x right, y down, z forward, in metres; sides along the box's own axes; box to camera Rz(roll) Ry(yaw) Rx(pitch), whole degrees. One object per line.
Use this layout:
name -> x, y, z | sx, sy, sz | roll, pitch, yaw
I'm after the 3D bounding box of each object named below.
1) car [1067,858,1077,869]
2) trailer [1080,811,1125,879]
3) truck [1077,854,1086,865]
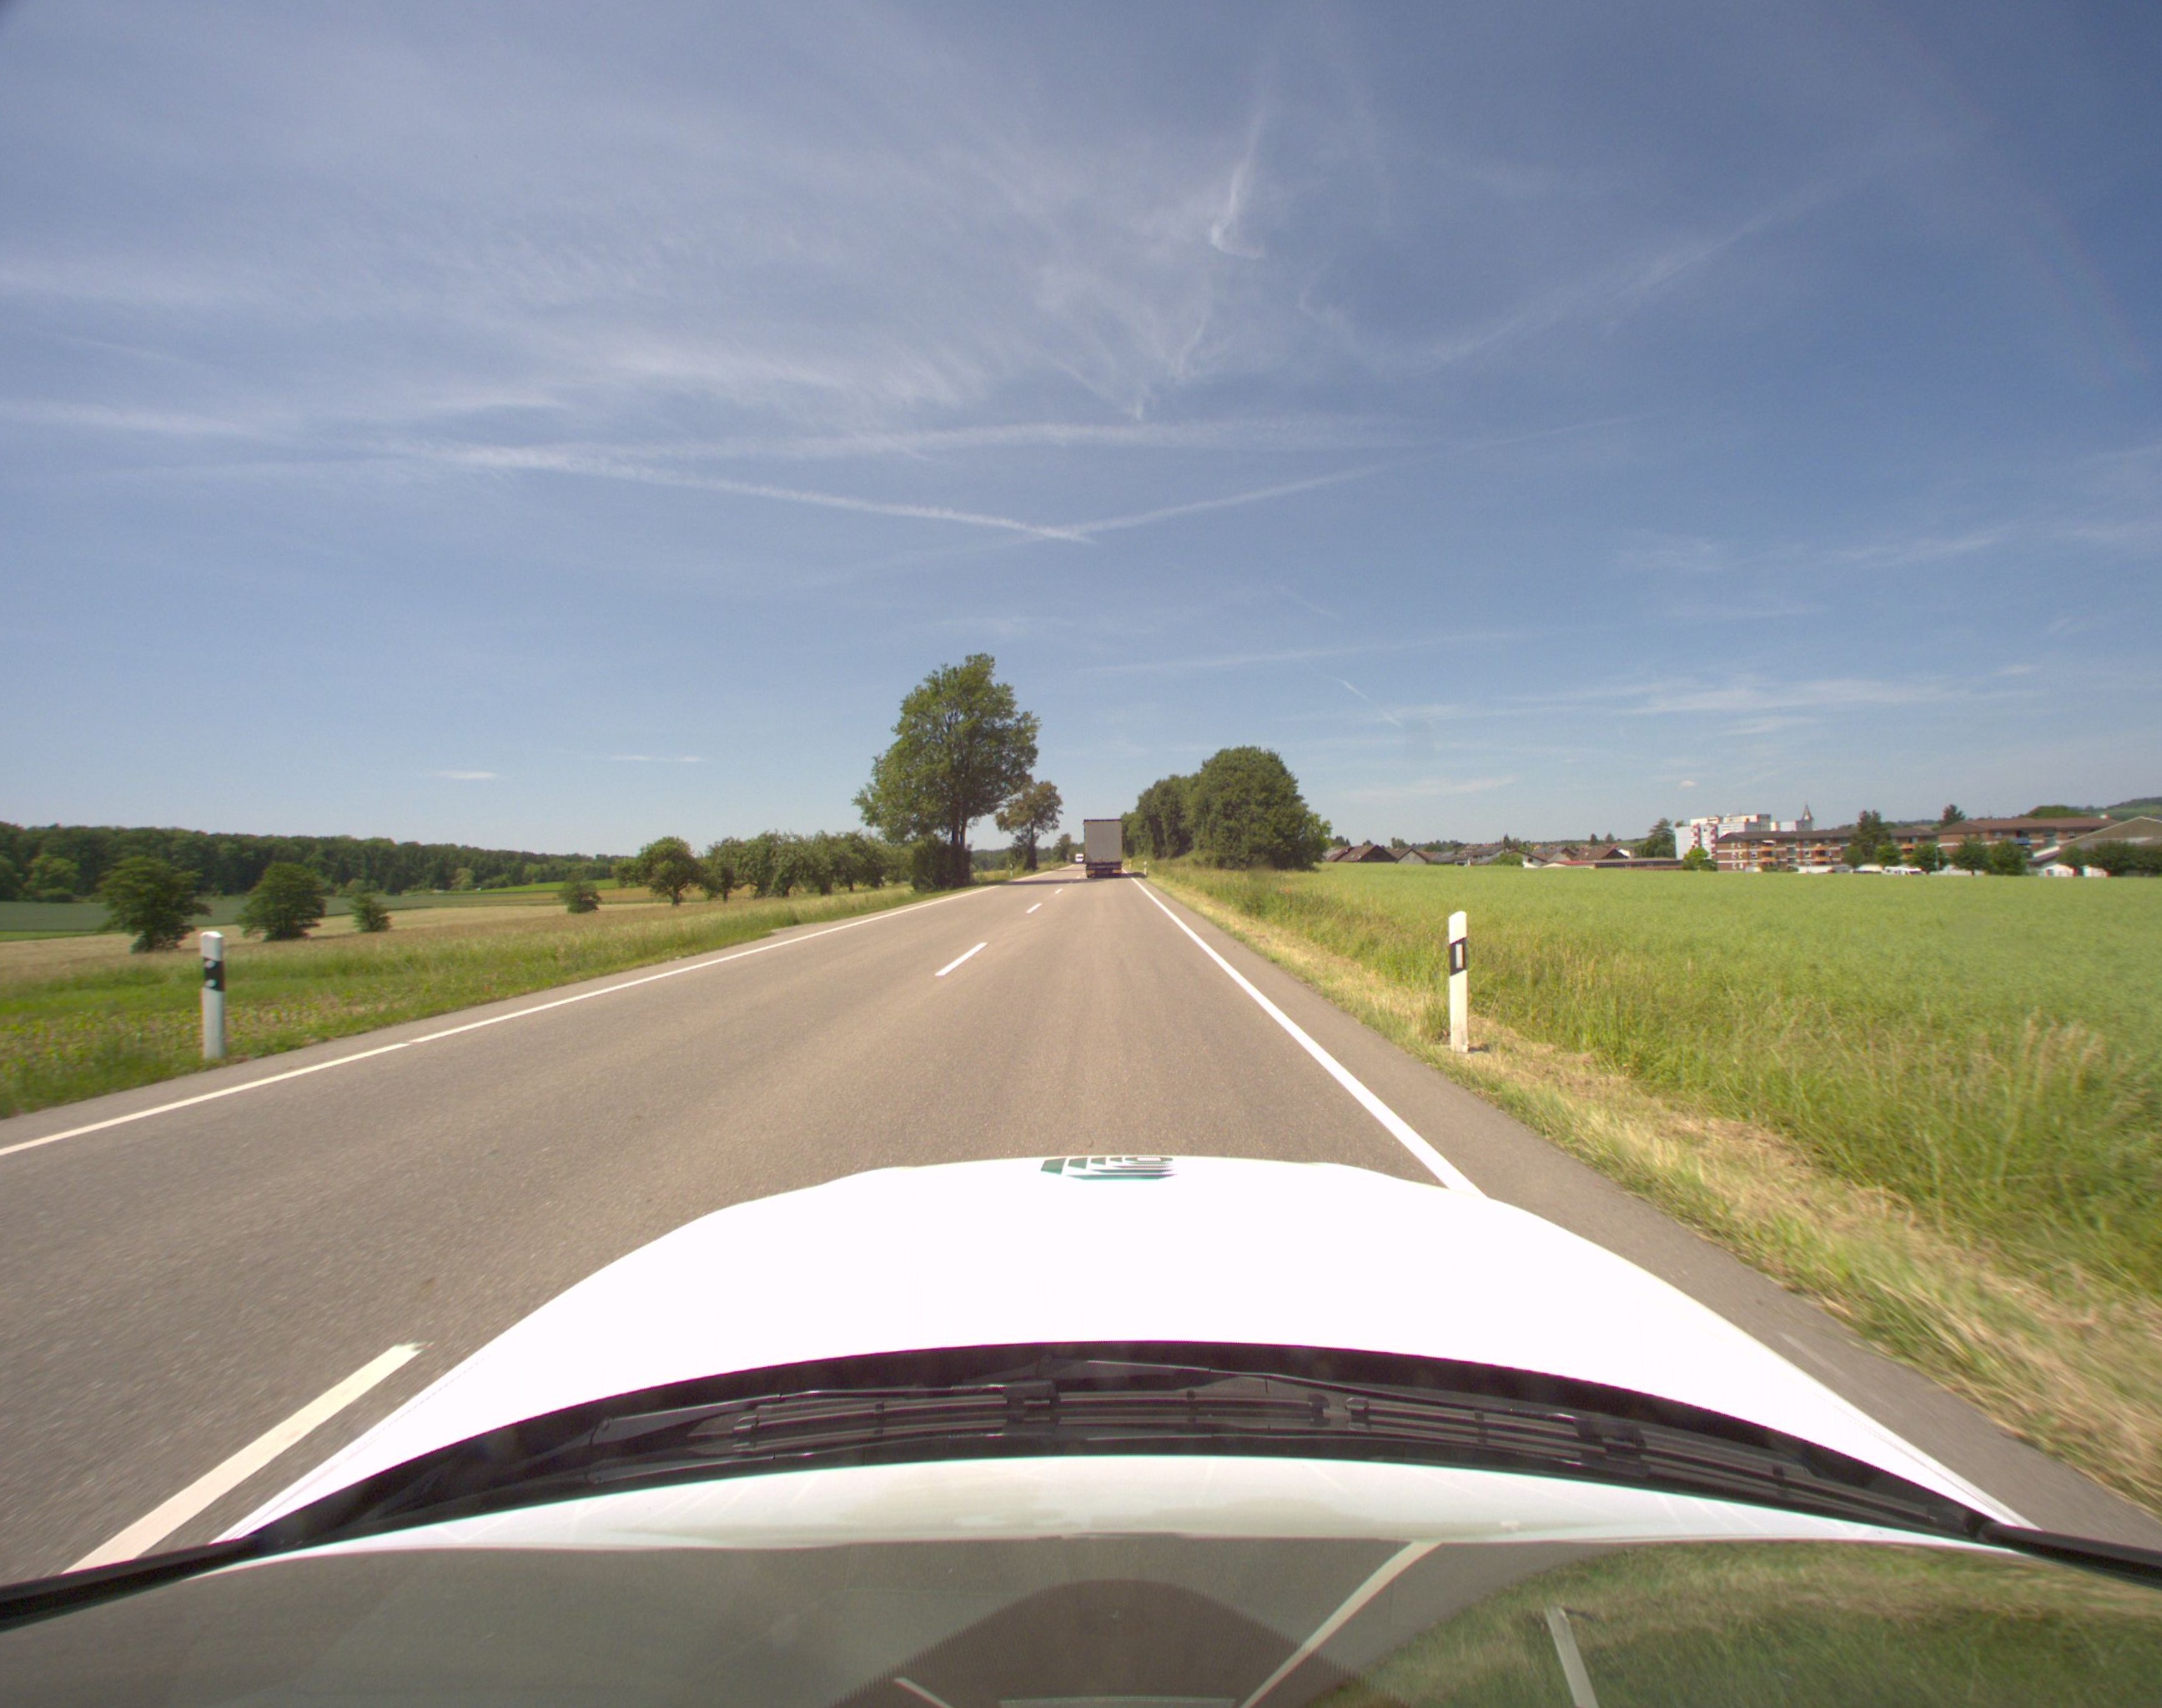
car -> -1.815, 1.819, 159.508 | 1.867, 2.014, 4.073 | 0, 0, 0
trailer -> 1.612, -0.570, 60.959 | 2.856, 4.401, 13.496 | -1, 0, 1
truck -> 0.169, 1.430, 214.335 | 2.012, 2.871, 7.524 | -2, 0, -2
